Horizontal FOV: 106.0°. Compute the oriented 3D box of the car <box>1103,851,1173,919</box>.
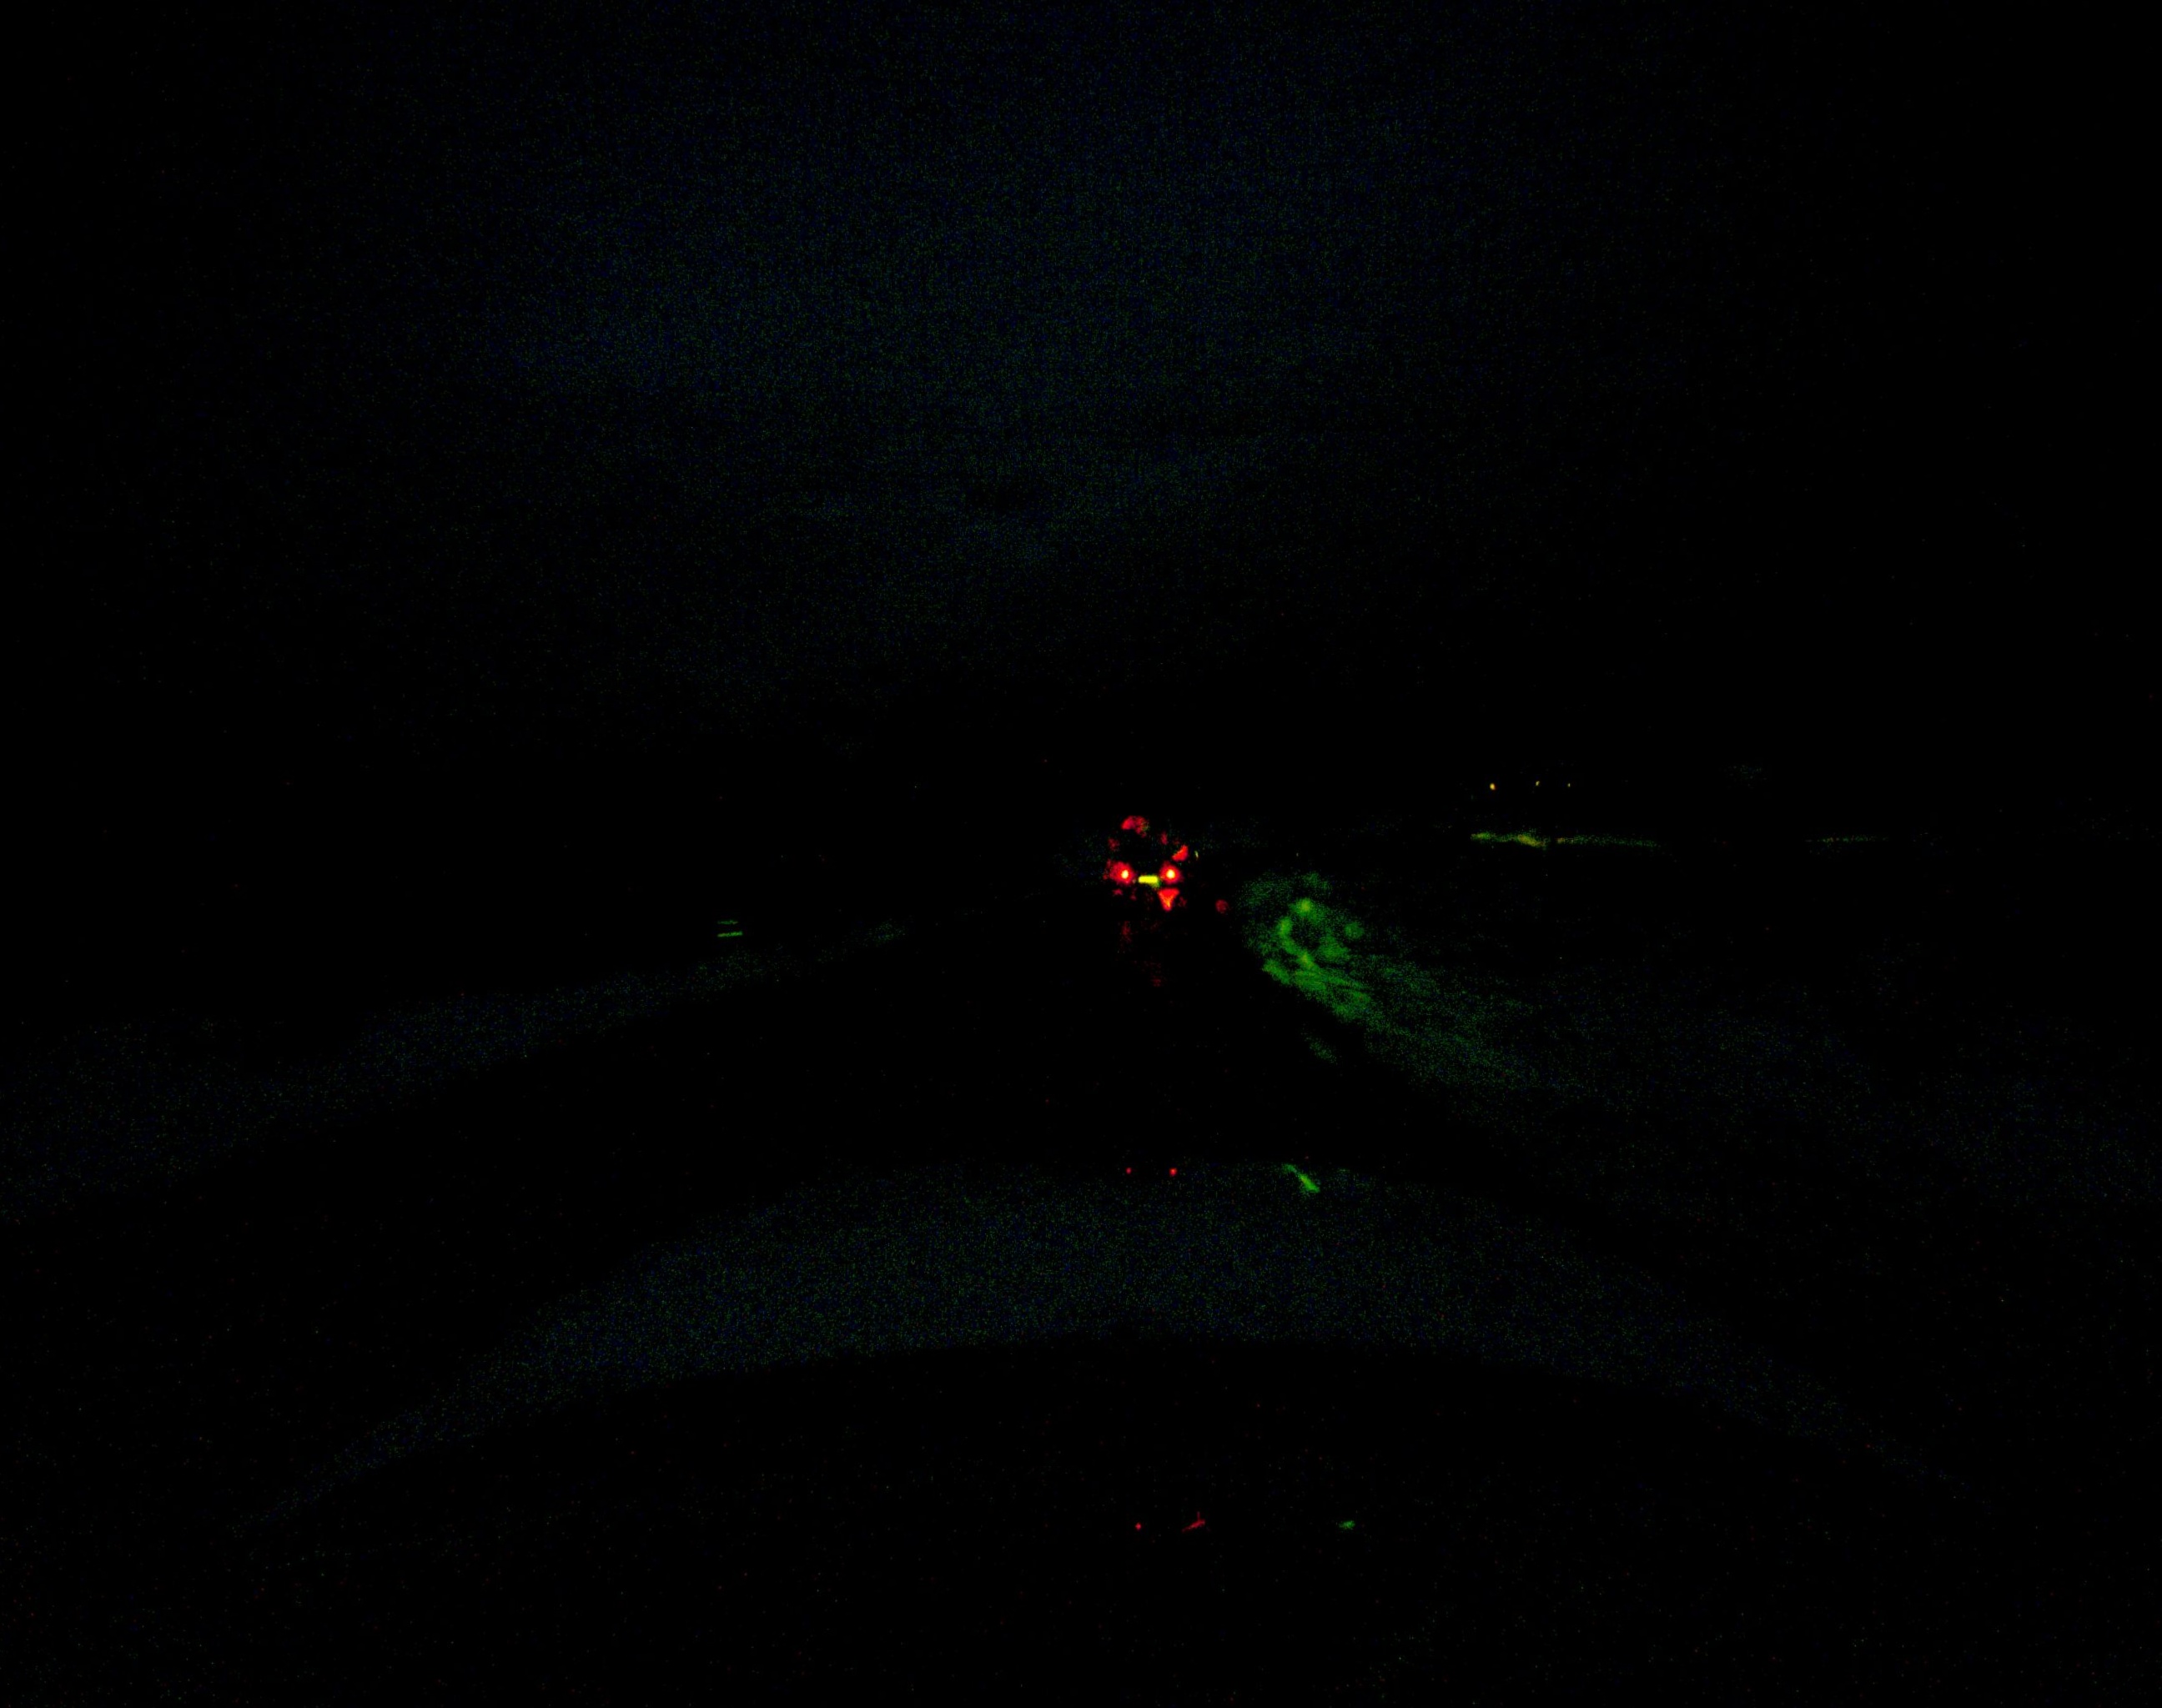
[{"bbox_3d":[1.622,0.860,24.315,1.816,1.796,3.578,-3,0,1],"label":"car"}]
